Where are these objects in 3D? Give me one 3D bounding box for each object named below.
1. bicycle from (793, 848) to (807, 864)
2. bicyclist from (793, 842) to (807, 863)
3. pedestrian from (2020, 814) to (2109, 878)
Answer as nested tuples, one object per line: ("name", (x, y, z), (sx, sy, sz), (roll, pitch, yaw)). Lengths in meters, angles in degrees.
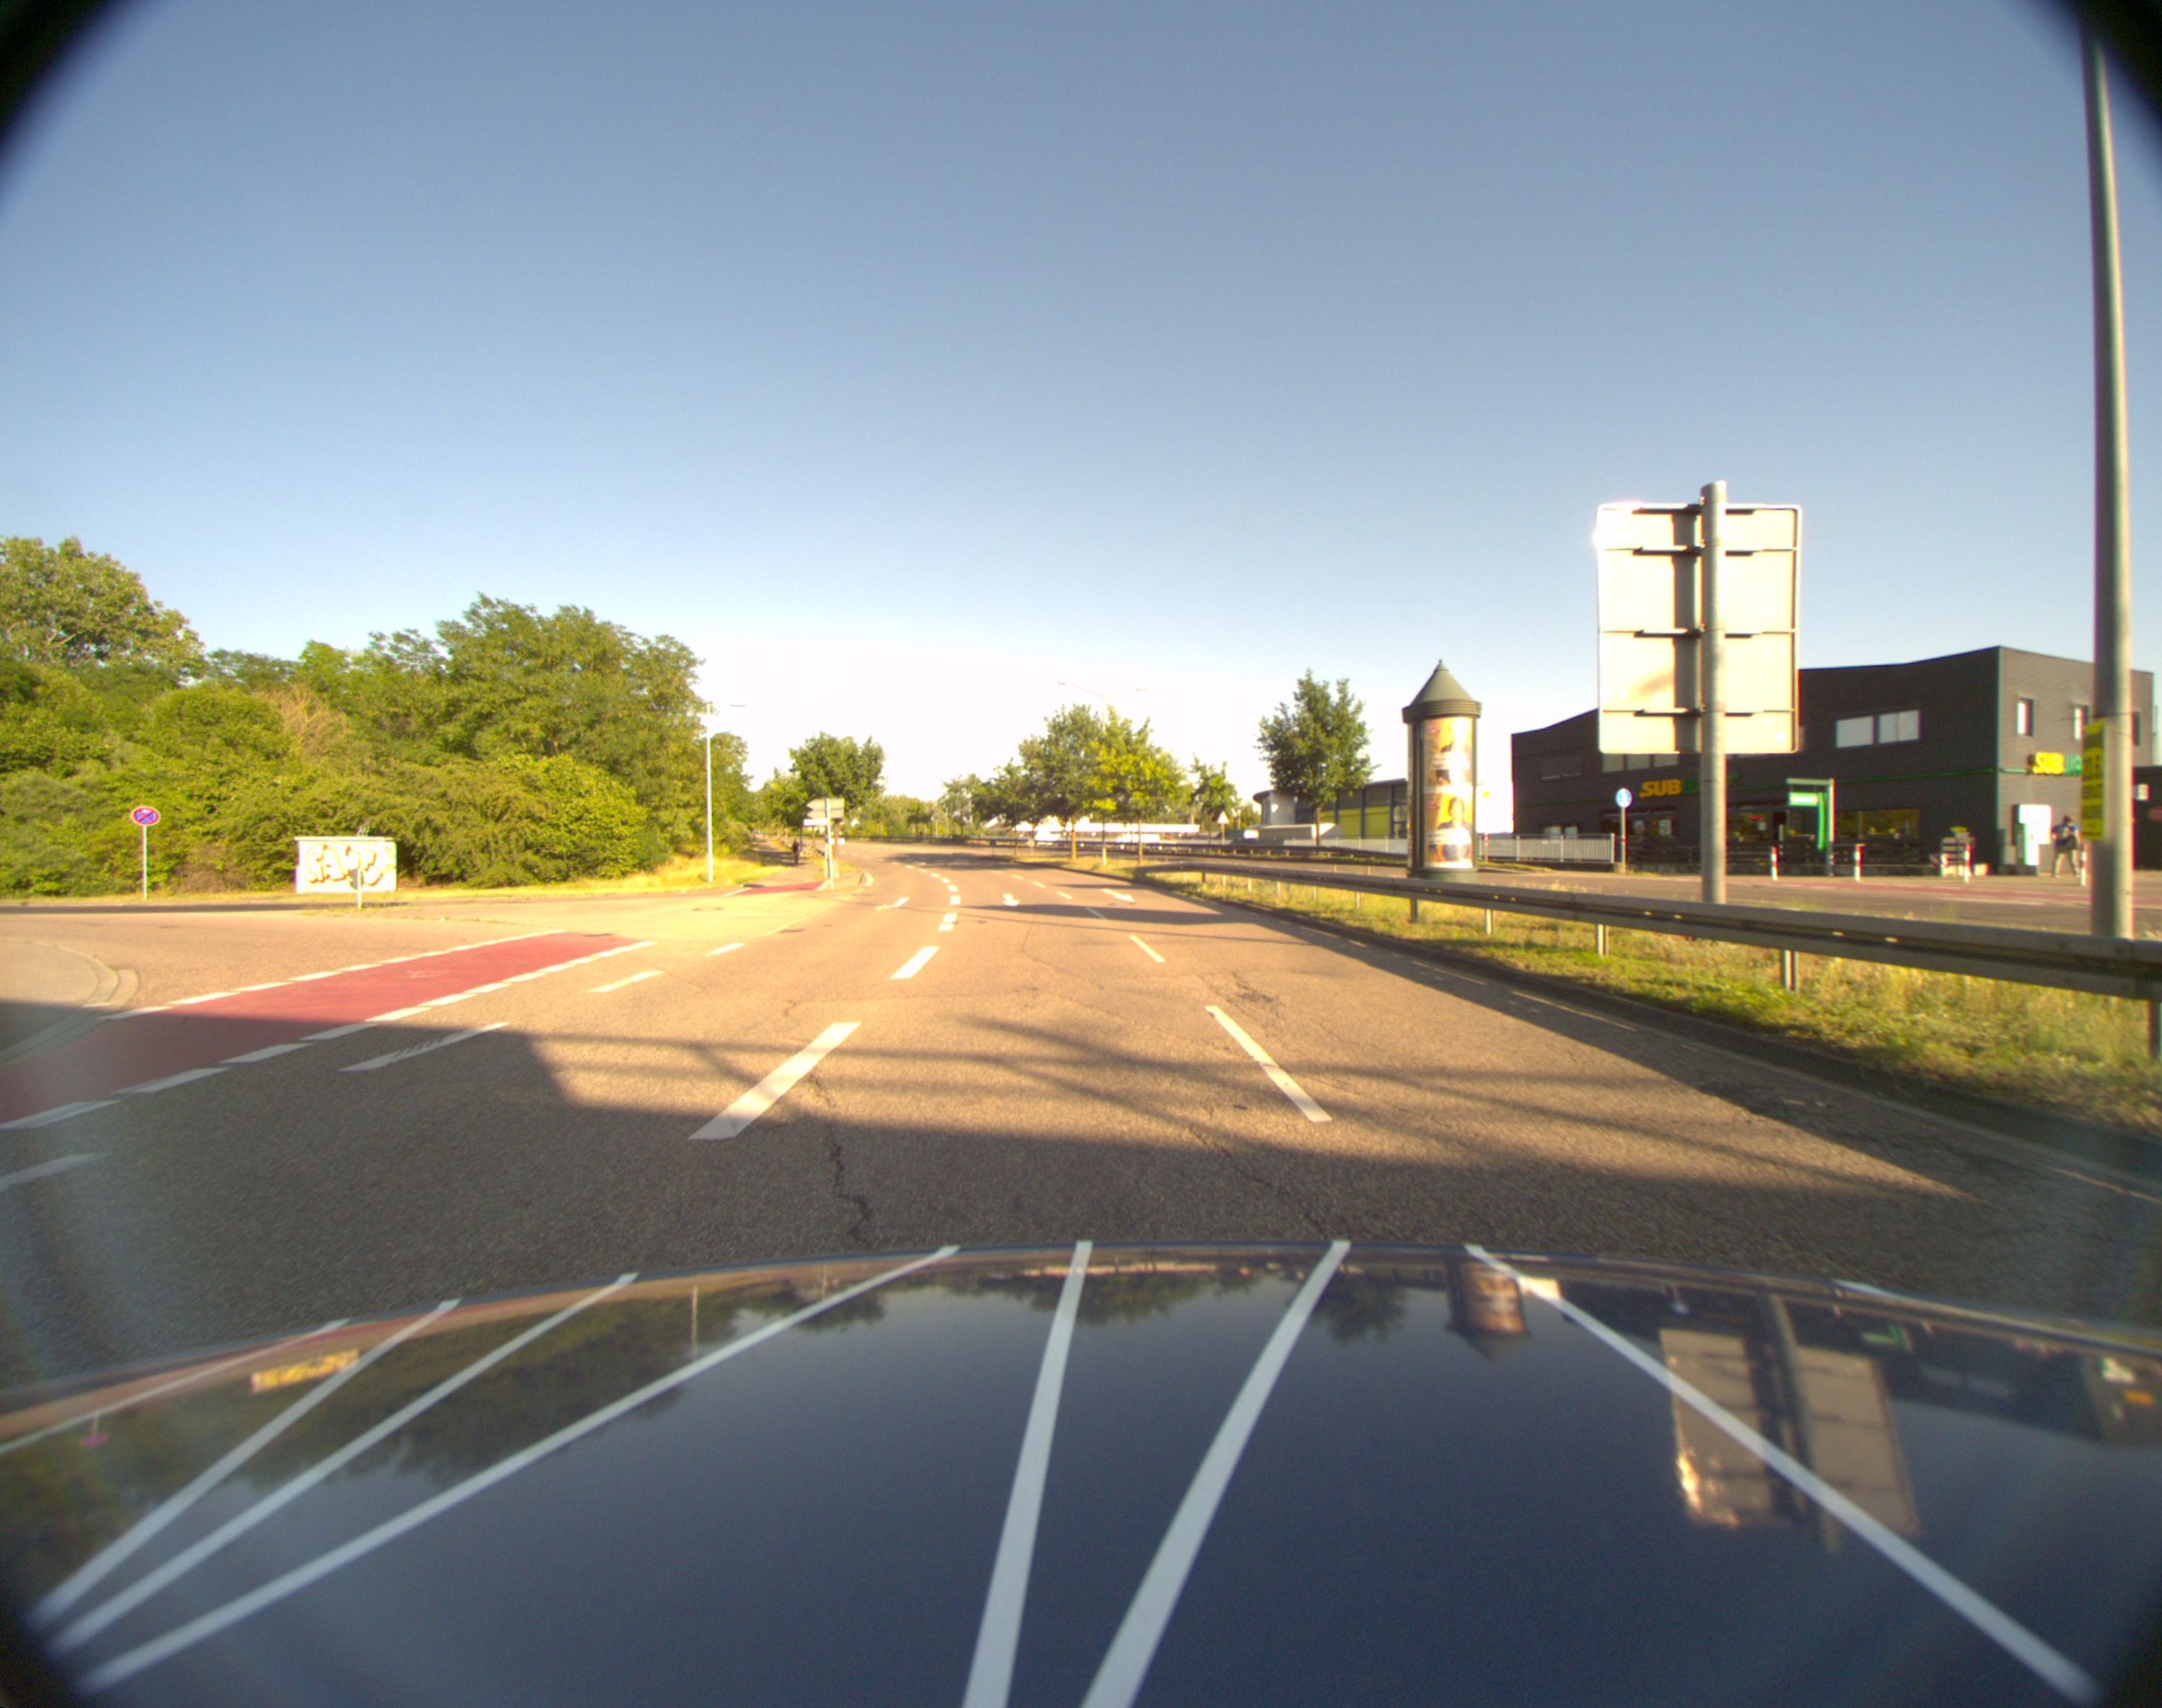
("bicycle", (-19.535, 0.113, 52.857), (0.783, 1.051, 2.491), (-3, 1, -22))
("bicyclist", (-19.568, -0.080, 52.844), (0.844, 1.413, 1.112), (-3, 2, -21))
("pedestrian", (29.377, -0.231, 22.721), (1.275, 1.825, 1.085), (-2, 2, 0))
